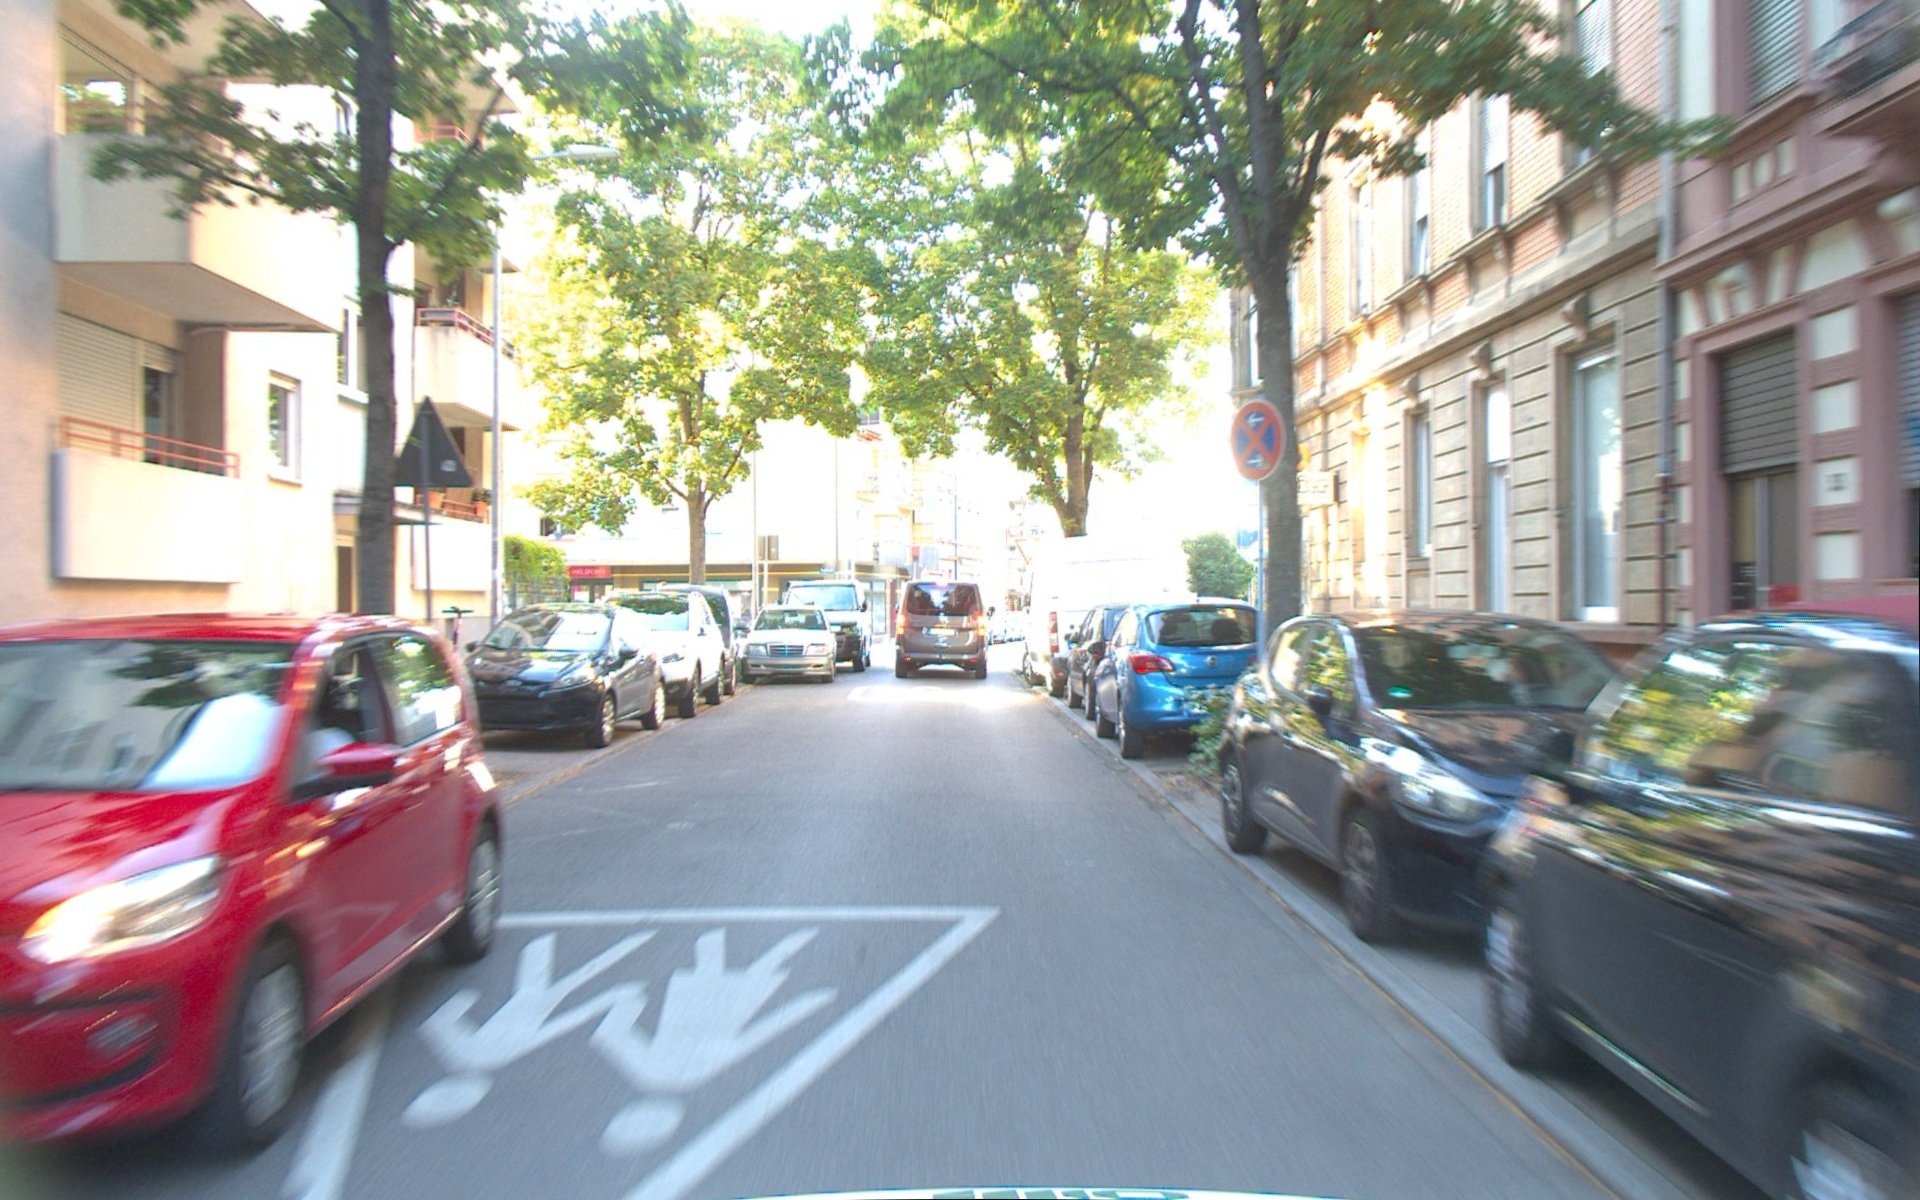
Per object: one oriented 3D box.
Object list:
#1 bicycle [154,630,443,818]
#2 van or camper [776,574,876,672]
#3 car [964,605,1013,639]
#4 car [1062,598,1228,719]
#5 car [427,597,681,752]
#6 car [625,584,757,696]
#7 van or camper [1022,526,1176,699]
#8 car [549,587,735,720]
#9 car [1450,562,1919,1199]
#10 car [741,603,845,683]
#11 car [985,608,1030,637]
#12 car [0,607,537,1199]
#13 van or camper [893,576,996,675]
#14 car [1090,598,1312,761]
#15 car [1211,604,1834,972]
[{"bbox_3d":[-4.676,0.836,11.793,0.595,1.216,1.817,2,0,43],"label":"bicycle"},{"bbox_3d":[-2.925,0.487,36.960,1.824,2.018,4.271,-1,0,0],"label":"van or camper"},{"bbox_3d":[1.408,1.024,79.842,1.757,1.606,3.751,0,0,11],"label":"car"},{"bbox_3d":[2.410,0.729,22.356,1.715,1.497,3.774,0,0,-2],"label":"car"},{"bbox_3d":[-4.385,0.748,18.437,1.703,1.510,3.840,1,0,2],"label":"car"},{"bbox_3d":[-4.502,0.638,28.096,1.706,1.742,3.374,1,0,-1],"label":"car"},{"bbox_3d":[2.228,0.197,28.080,1.953,2.644,5.421,0,0,-2],"label":"van or camper"},{"bbox_3d":[-4.359,0.687,23.273,1.859,1.665,4.155,1,0,-1],"label":"car"},{"bbox_3d":[2.512,0.698,4.291,1.519,1.523,3.611,0,0,2],"label":"car"},{"bbox_3d":[-3.162,0.787,31.850,1.706,1.429,3.374,-1,0,-1],"label":"car"},{"bbox_3d":[2.492,1.151,85.480,1.757,1.445,3.751,0,0,11],"label":"car"},{"bbox_3d":[-2.669,0.771,5.719,1.597,1.455,3.541,-1,0,-2],"label":"car"},{"bbox_3d":[-0.275,0.496,34.188,1.993,1.931,4.271,0,0,1],"label":"van or camper"},{"bbox_3d":[2.364,0.735,17.098,1.714,1.497,3.775,0,0,-1],"label":"car"},{"bbox_3d":[2.536,0.744,8.472,1.681,1.428,3.811,-1,0,-4],"label":"car"}]
